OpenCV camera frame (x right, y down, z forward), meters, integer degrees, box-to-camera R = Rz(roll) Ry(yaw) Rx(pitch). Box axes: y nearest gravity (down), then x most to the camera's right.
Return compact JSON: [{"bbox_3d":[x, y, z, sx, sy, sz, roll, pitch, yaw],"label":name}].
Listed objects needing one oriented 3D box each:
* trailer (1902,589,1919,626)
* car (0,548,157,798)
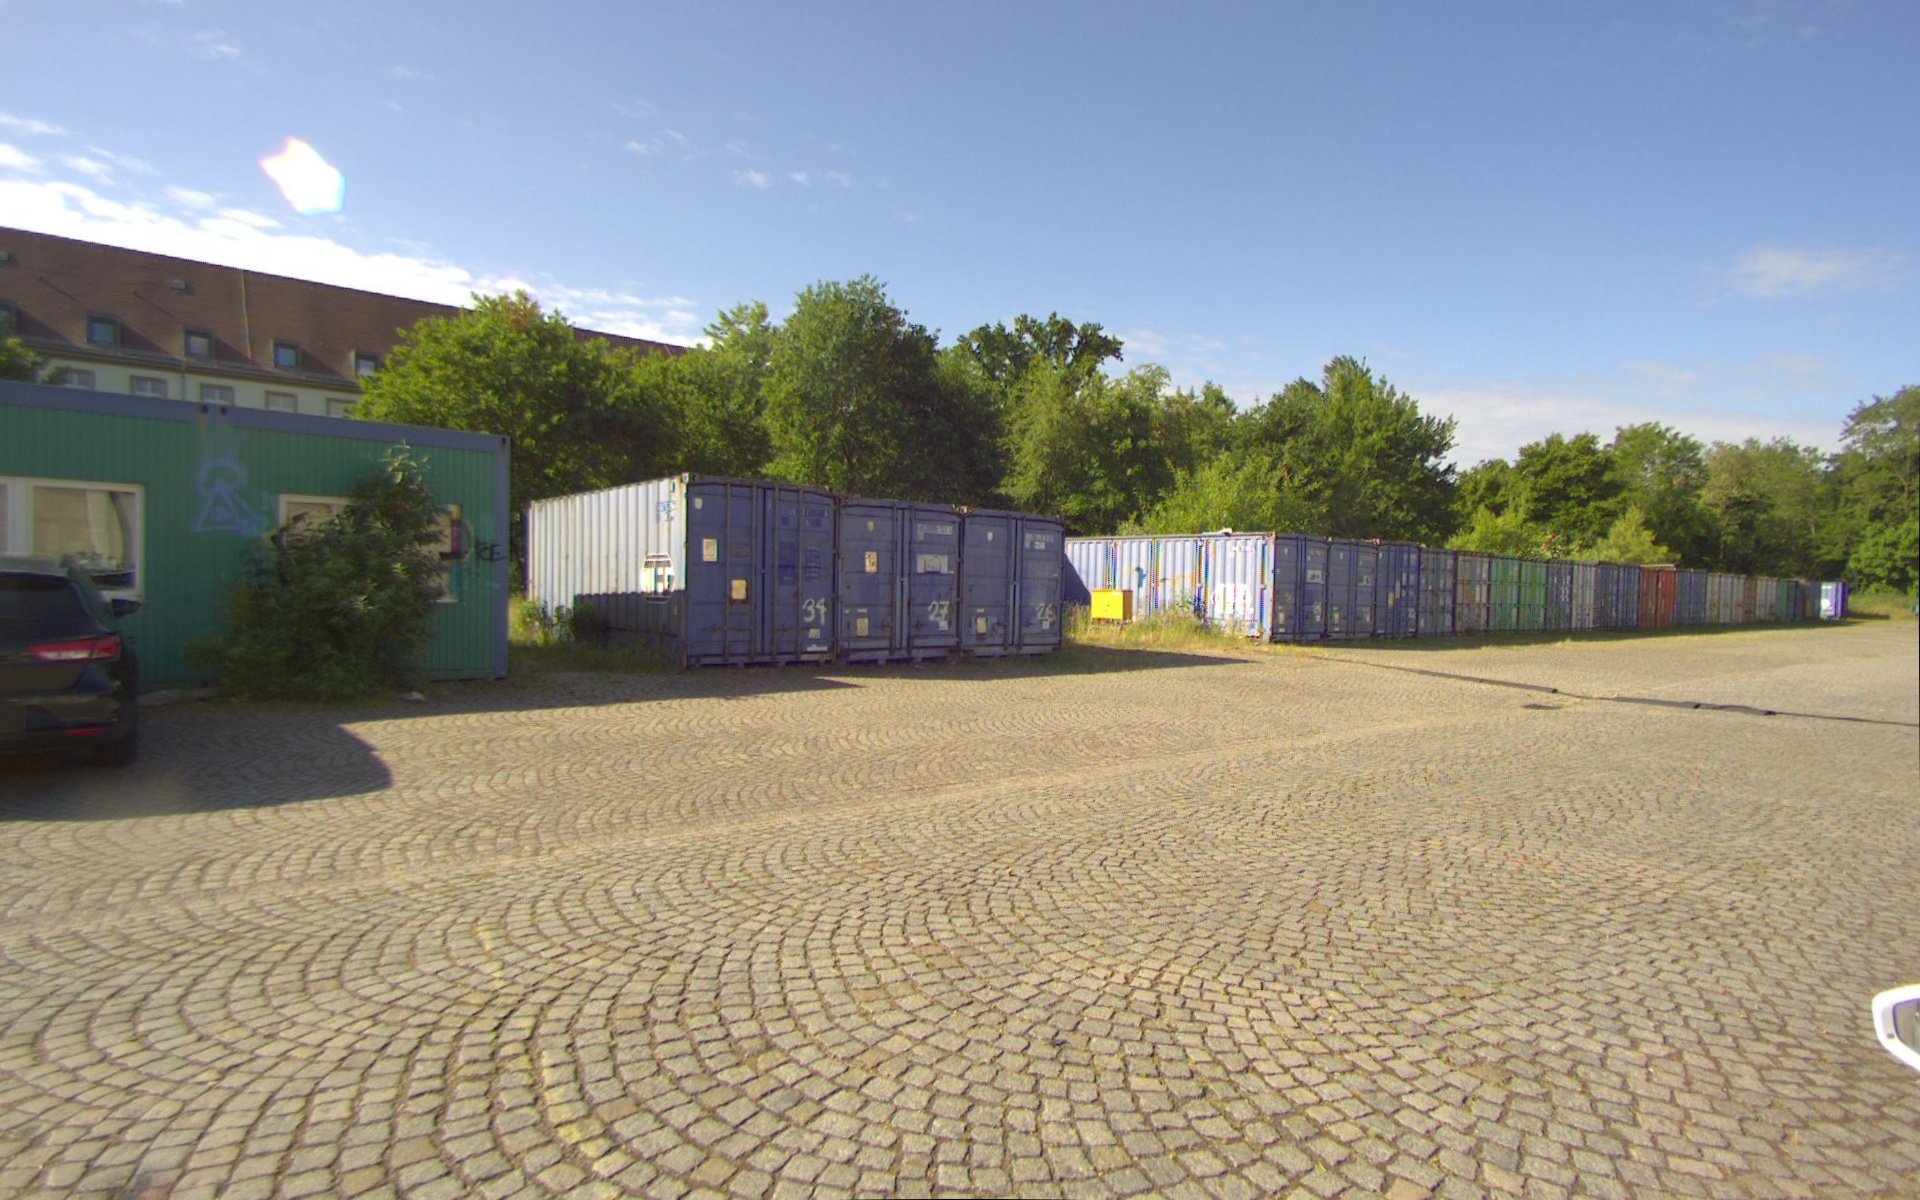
[{"bbox_3d":[55.360,0.484,56.724,4.135,2.041,2.389,0,3,-38],"label":"trailer"},{"bbox_3d":[-7.012,0.354,7.255,1.718,1.432,4.013,0,2,-41],"label":"car"}]
